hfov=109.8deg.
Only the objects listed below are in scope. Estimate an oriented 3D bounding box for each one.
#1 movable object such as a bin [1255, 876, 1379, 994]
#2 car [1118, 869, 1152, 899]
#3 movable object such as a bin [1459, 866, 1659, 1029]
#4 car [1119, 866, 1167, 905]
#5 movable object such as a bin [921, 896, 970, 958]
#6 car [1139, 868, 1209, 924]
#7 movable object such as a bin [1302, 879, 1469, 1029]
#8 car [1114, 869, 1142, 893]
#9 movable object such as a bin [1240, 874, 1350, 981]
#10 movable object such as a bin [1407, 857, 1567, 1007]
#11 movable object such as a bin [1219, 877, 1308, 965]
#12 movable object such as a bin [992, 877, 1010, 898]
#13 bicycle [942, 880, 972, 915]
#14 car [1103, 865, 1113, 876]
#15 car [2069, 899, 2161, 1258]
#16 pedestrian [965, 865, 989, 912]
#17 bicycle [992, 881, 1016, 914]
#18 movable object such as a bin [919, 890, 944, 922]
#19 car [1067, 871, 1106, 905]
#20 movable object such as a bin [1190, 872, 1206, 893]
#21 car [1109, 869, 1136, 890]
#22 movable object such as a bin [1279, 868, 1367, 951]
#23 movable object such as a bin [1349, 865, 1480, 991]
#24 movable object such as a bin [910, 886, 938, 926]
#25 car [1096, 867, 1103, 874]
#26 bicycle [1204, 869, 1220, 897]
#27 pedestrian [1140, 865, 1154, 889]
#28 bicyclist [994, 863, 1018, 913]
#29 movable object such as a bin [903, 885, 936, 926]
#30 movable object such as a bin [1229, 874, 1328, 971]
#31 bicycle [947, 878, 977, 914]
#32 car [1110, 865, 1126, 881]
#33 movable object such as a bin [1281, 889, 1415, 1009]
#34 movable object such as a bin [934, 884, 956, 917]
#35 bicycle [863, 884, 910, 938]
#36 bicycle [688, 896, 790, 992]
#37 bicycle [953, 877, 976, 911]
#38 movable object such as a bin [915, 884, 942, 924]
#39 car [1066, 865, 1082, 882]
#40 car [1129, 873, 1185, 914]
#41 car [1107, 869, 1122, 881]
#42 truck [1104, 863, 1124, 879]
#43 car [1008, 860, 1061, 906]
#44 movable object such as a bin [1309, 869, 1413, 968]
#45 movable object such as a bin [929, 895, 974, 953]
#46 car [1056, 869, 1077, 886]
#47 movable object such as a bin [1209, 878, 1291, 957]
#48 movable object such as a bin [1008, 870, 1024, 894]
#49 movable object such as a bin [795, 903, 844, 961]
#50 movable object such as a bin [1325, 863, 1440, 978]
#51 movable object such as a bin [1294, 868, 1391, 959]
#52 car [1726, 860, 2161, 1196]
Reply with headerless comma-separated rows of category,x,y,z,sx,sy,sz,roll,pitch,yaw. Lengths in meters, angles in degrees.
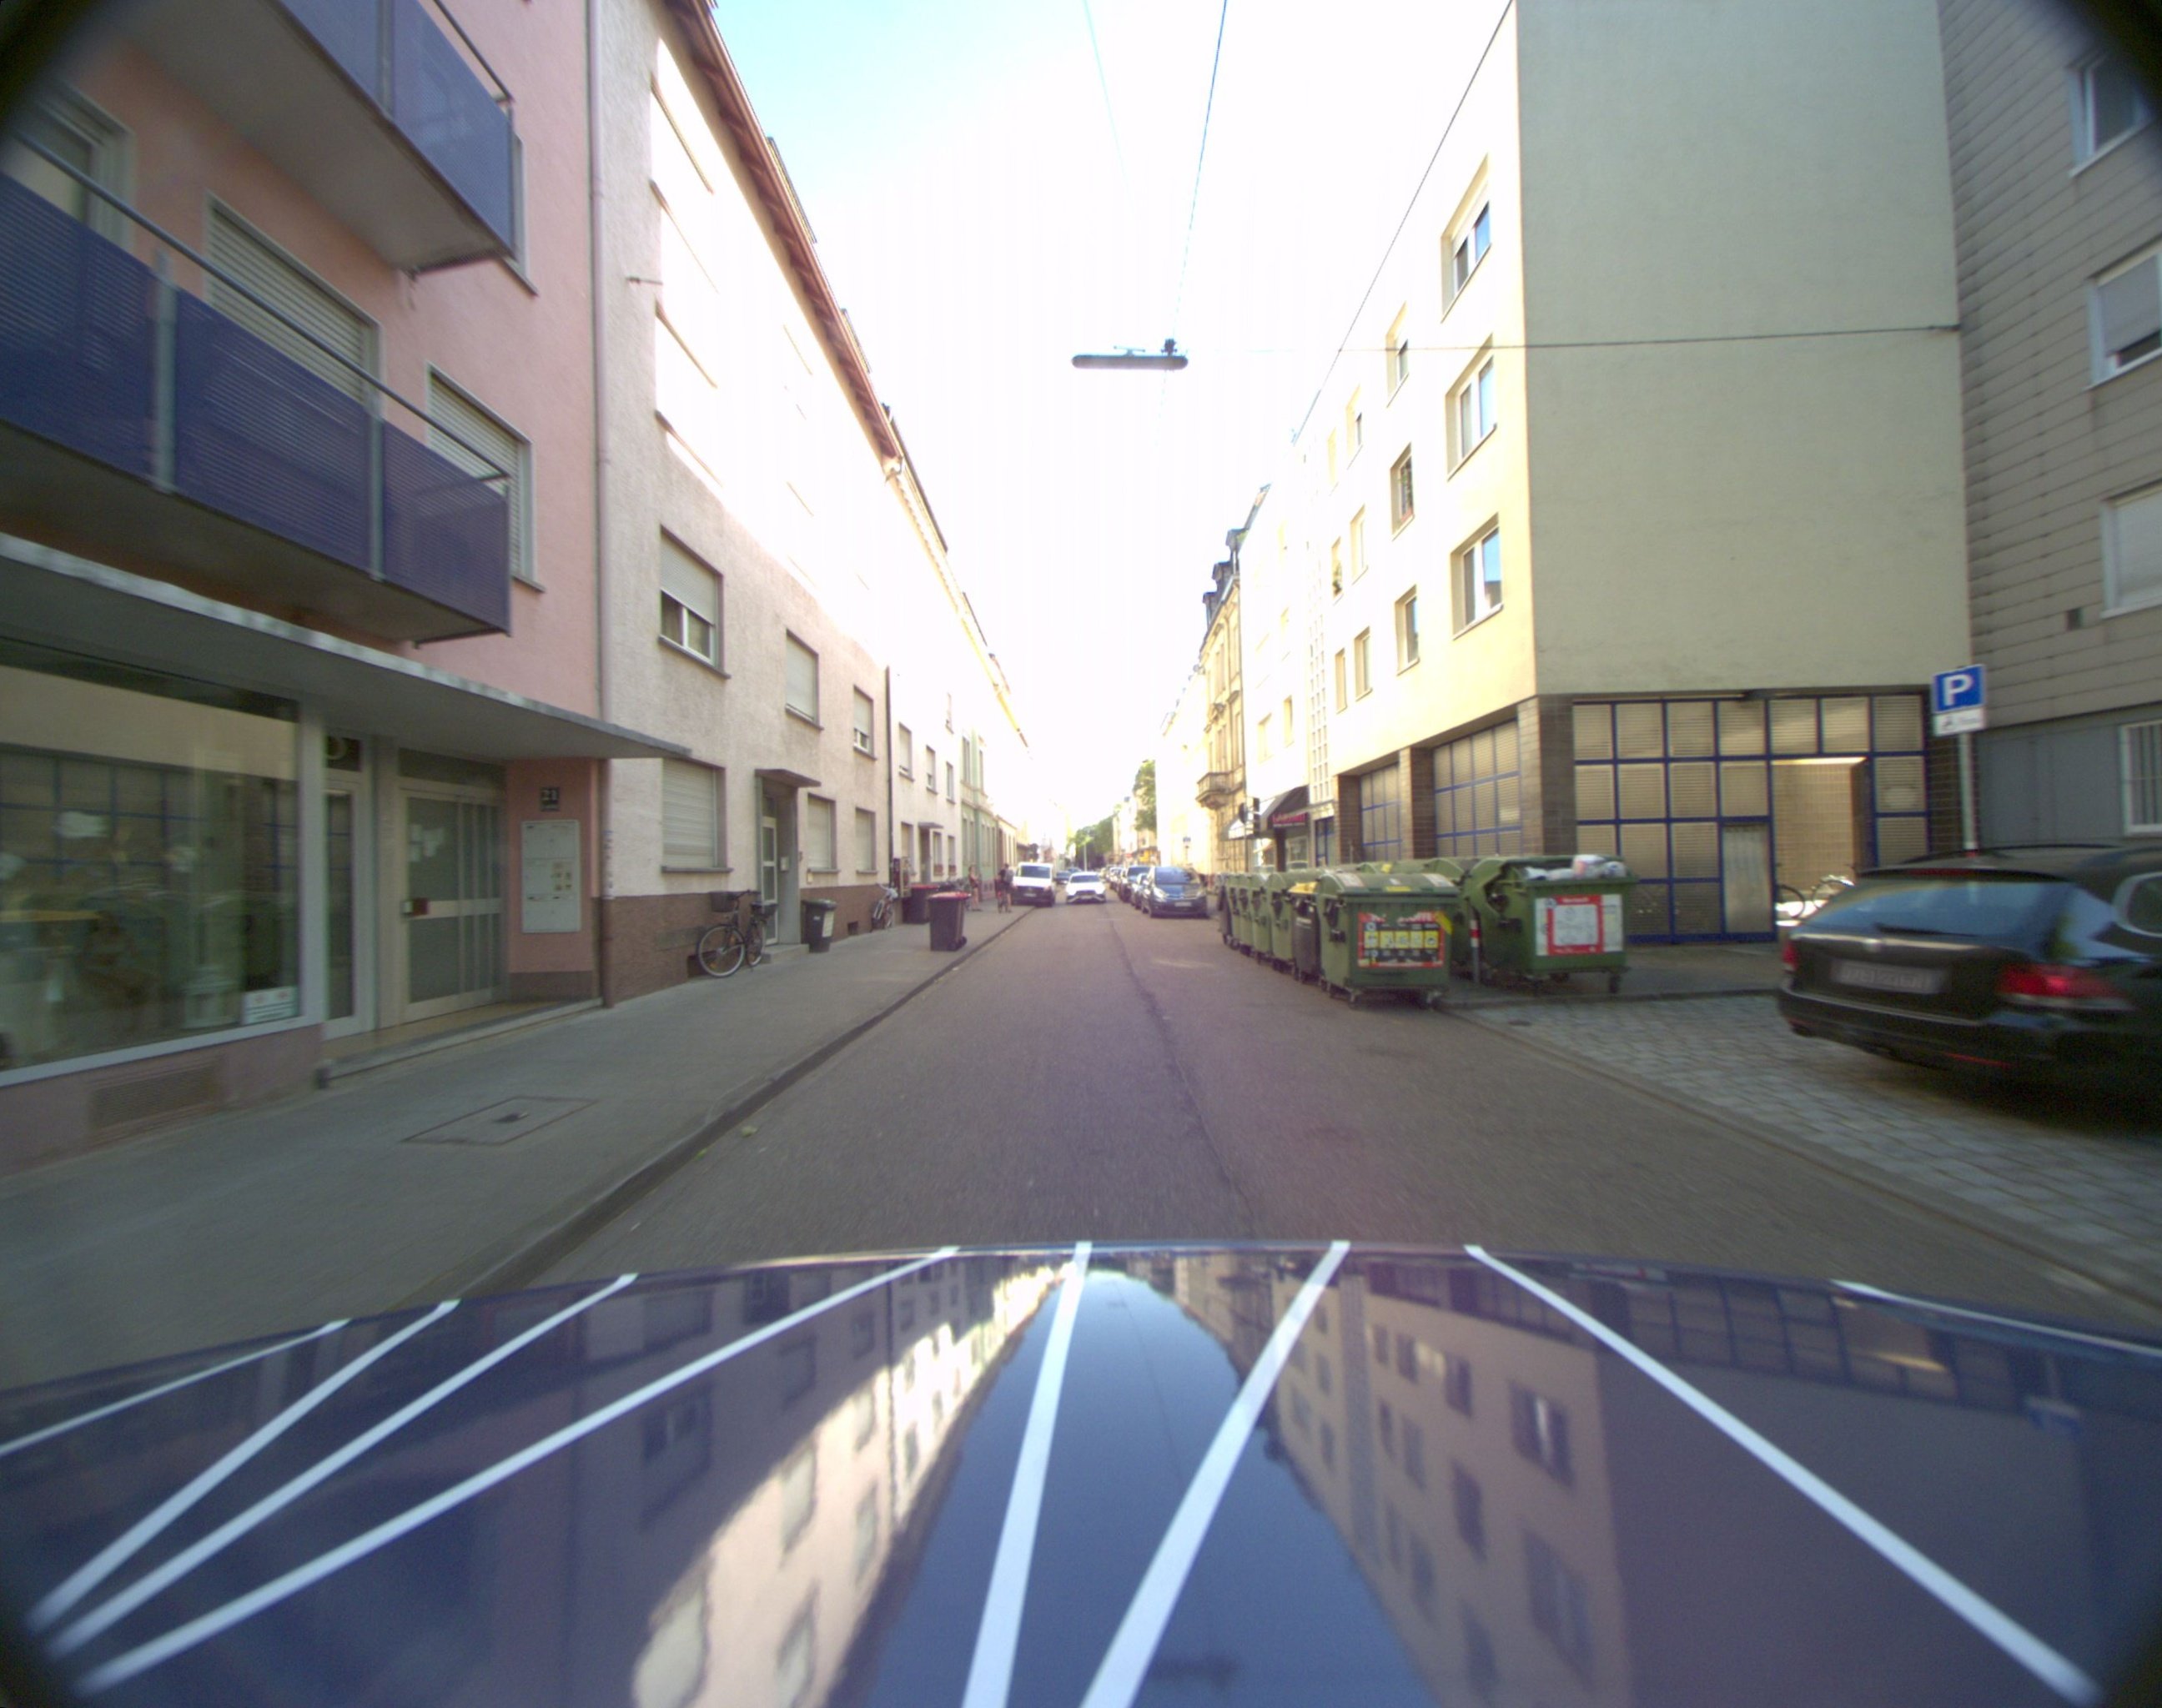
movable object such as a bin,3.206,1.075,10.448,1.337,1.482,1.082,-2,0,0
car,2.907,1.624,41.716,1.717,1.522,4.368,0,-1,2
movable object such as a bin,4.975,0.923,8.012,1.356,1.540,1.120,-2,0,-5
car,2.874,1.438,36.197,1.941,1.725,5.143,0,-1,1
movable object such as a bin,-2.539,1.360,14.277,0.770,1.080,0.693,-1,0,2
car,2.965,1.293,25.014,1.787,1.657,4.671,0,-1,1
movable object such as a bin,3.257,1.028,8.256,1.304,1.442,1.117,-2,0,-3
car,3.195,1.823,52.276,1.748,1.605,4.604,0,-1,2
movable object such as a bin,3.201,1.081,11.516,1.346,1.490,1.018,-2,0,0
movable object such as a bin,4.848,0.882,9.173,1.231,1.643,1.173,-2,0,-5
movable object such as a bin,3.238,1.166,13.596,1.337,1.475,1.093,0,0,0
movable object such as a bin,-4.211,1.759,40.082,0.814,1.082,0.674,-1,0,3
bicycle,-4.365,1.508,26.828,0.570,1.146,1.869,-1,0,5
car,5.269,3.307,149.017,1.913,2.076,4.697,-1,-1,1
car,6.508,0.815,2.345,4.353,1.417,1.957,-3,0,0
pedestrian,-3.803,1.268,27.856,0.656,1.701,0.687,-1,0,13
bicycle,-2.757,1.555,27.376,0.665,1.130,1.988,2,-2,-1
movable object such as a bin,-4.492,1.548,22.798,0.607,0.929,0.605,-1,0,2
car,0.281,1.575,36.080,1.761,1.399,4.022,-1,0,1
movable object such as a bin,6.482,1.567,42.128,0.721,1.125,0.584,-1,0,-3
car,3.134,1.902,58.137,1.718,1.479,4.852,1,-1,0
movable object such as a bin,4.659,1.039,14.747,1.299,1.489,1.179,-2,0,0
movable object such as a bin,4.538,0.972,10.445,1.292,1.595,1.082,-2,0,0
movable object such as a bin,-4.457,1.476,21.602,0.658,1.098,0.593,-1,-1,2
car,4.810,4.355,198.366,1.786,1.674,4.022,-1,0,1
bicycle,6.220,1.360,36.134,0.512,1.269,1.867,-1,0,2
pedestrian,5.035,1.734,58.094,0.913,1.822,1.245,-1,0,1
bicyclist,-2.725,1.237,27.613,0.762,1.760,0.823,1,-1,-1
movable object such as a bin,-4.451,1.417,21.007,0.740,1.091,0.640,1,0,2
movable object such as a bin,3.233,1.106,12.552,1.352,1.478,1.003,-2,0,0
bicycle,-4.364,1.505,27.918,0.438,1.199,2.267,-1,0,8
car,4.552,2.365,93.753,1.771,1.887,4.809,1,-1,0
movable object such as a bin,3.242,1.126,9.356,1.244,1.314,1.046,-2,0,0
movable object such as a bin,-4.466,1.524,24.952,0.617,1.056,0.603,1,-1,0
bicycle,-4.628,1.324,18.215,0.538,1.163,2.077,3,-1,0
bicycle,-4.704,1.190,10.596,0.454,1.127,1.920,1,0,2
bicycle,-4.468,1.514,29.255,0.406,1.199,2.160,-1,0,4
movable object such as a bin,-4.437,1.454,22.163,0.629,1.116,0.569,-1,0,2
car,-0.859,2.487,98.290,1.975,2.016,4.900,-3,-1,0
car,2.951,1.523,30.396,1.850,1.408,4.818,0,0,1
car,4.378,2.709,99.754,1.669,1.513,4.489,1,-1,0
truck,4.769,2.453,111.124,2.171,2.295,6.346,0,0,-5
car,-2.050,1.294,35.021,1.988,1.872,5.600,2,-1,0
movable object such as a bin,4.574,1.027,12.512,1.305,1.513,1.018,-2,0,0
movable object such as a bin,-2.538,1.371,14.991,0.734,1.074,0.703,-1,0,2
car,-1.408,2.242,73.336,1.805,1.569,4.898,-2,-1,1
movable object such as a bin,3.256,1.197,14.770,1.322,1.442,1.187,0,0,0
movable object such as a bin,-4.029,1.745,47.347,0.839,1.381,1.297,1,1,0
movable object such as a bin,-4.580,1.361,13.334,0.599,0.945,0.682,-1,0,2
movable object such as a bin,4.534,0.971,11.510,1.297,1.611,1.018,-2,0,0
movable object such as a bin,4.637,1.031,13.589,1.309,1.490,1.157,-2,0,0
car,6.600,0.829,4.560,3.885,1.496,1.827,-2,0,0
